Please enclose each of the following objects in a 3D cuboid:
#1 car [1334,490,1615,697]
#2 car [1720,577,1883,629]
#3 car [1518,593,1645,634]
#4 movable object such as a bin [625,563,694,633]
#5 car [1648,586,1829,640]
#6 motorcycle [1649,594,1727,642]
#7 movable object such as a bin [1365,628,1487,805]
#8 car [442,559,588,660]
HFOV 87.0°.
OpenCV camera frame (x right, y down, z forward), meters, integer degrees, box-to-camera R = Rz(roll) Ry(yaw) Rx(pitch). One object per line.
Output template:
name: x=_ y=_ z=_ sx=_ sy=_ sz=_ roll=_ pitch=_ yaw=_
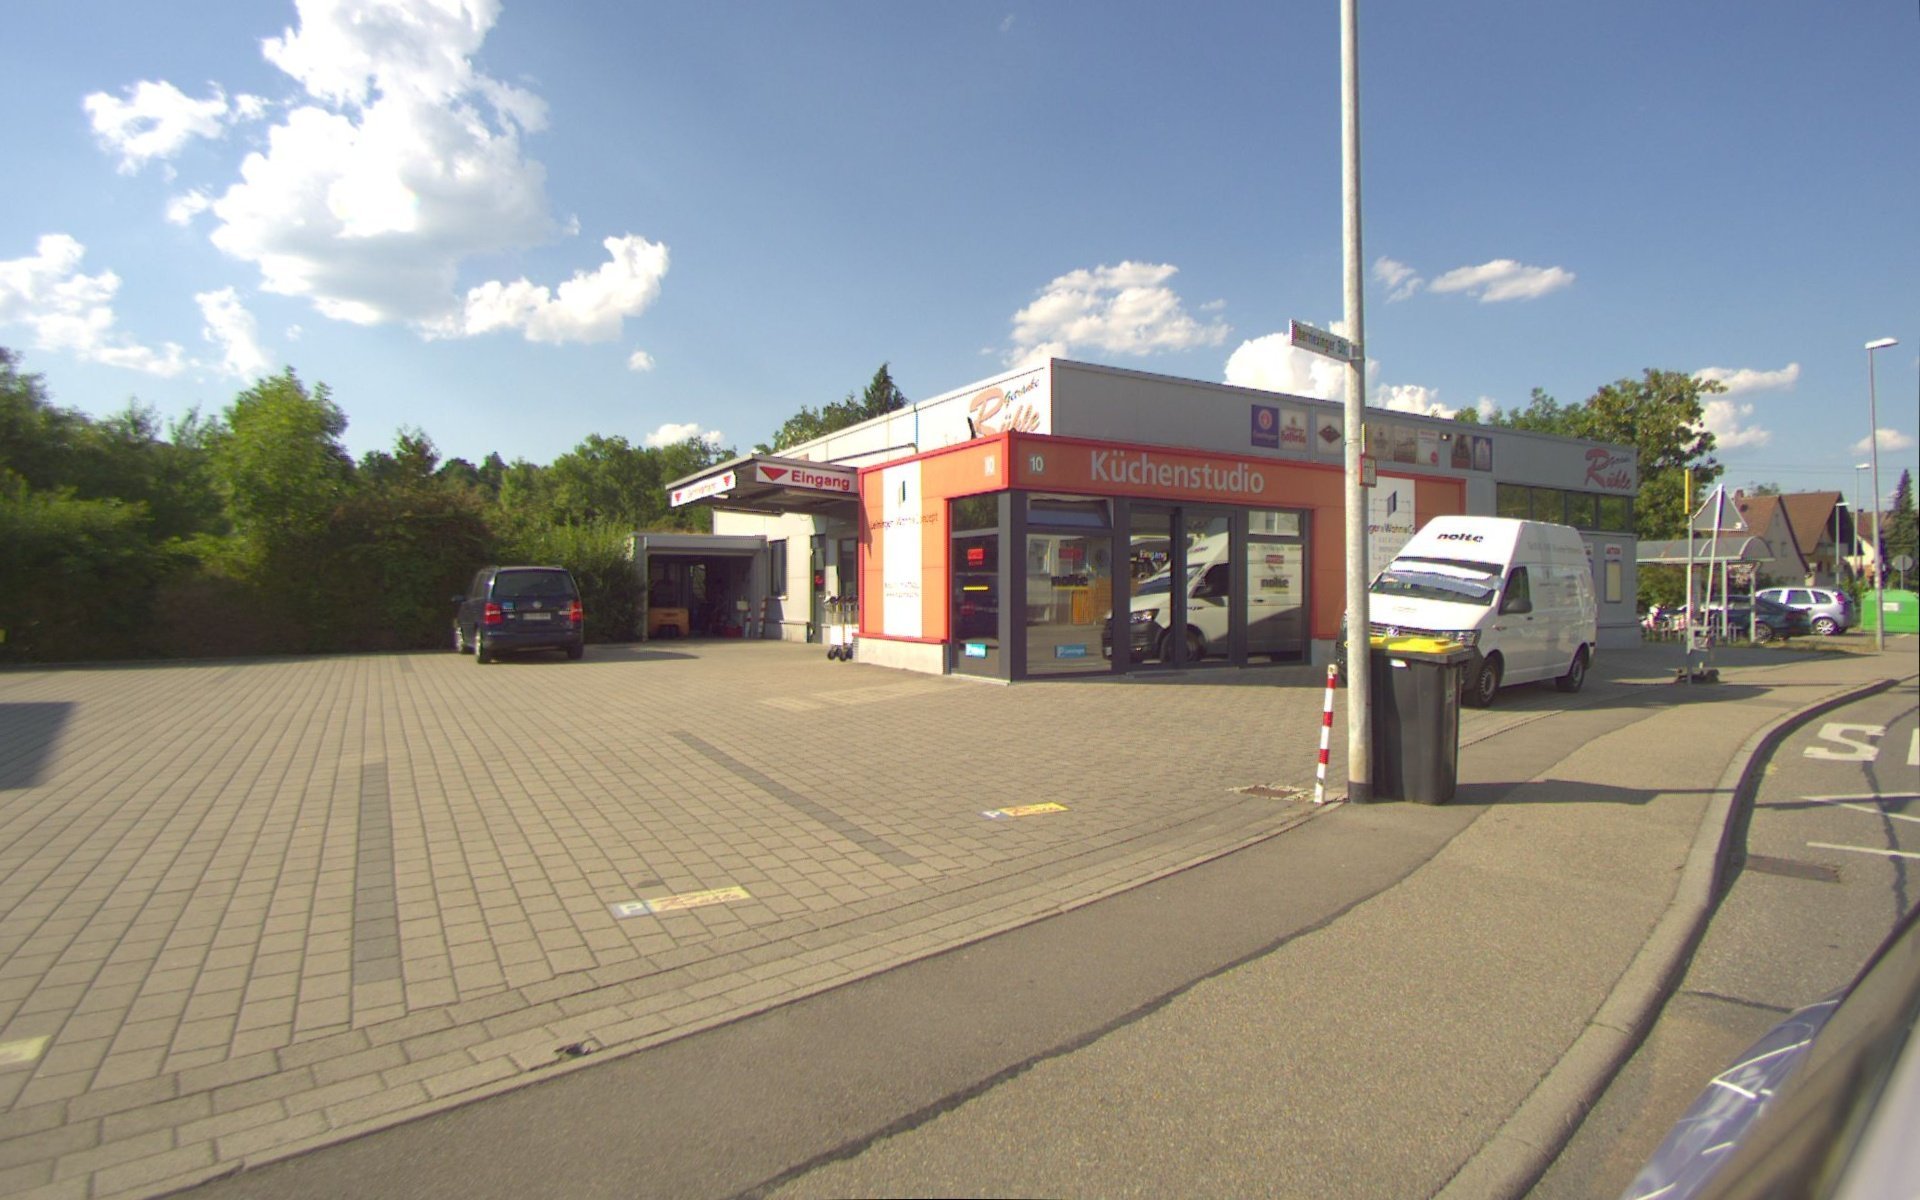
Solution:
car: x=7.343 y=-0.109 z=14.174 sx=5.090 sy=2.404 sz=1.839 roll=0 pitch=1 yaw=-42
car: x=28.204 y=0.053 z=34.025 sx=1.652 sy=1.623 sz=3.950 roll=-2 pitch=2 yaw=-38
car: x=24.336 y=0.482 z=39.718 sx=1.652 sy=1.466 sz=3.950 roll=-2 pitch=2 yaw=-38
movable object such as a bin: x=-7.691 y=-0.059 z=25.761 sx=1.153 sy=1.669 sz=3.027 roll=0 pitch=1 yaw=-27
car: x=23.548 y=0.344 z=30.760 sx=1.595 sy=1.434 sz=4.078 roll=-1 pitch=2 yaw=-35
motorcycle: x=21.546 y=0.514 z=29.978 sx=1.819 sy=1.340 sz=0.632 roll=2 pitch=1 yaw=35
movable object such as a bin: x=3.145 y=0.752 z=6.836 sx=0.563 sy=1.088 sz=0.567 roll=0 pitch=1 yaw=-43
car: x=-8.106 y=0.117 z=18.276 sx=1.610 sy=1.615 sz=3.642 roll=-2 pitch=2 yaw=-37
